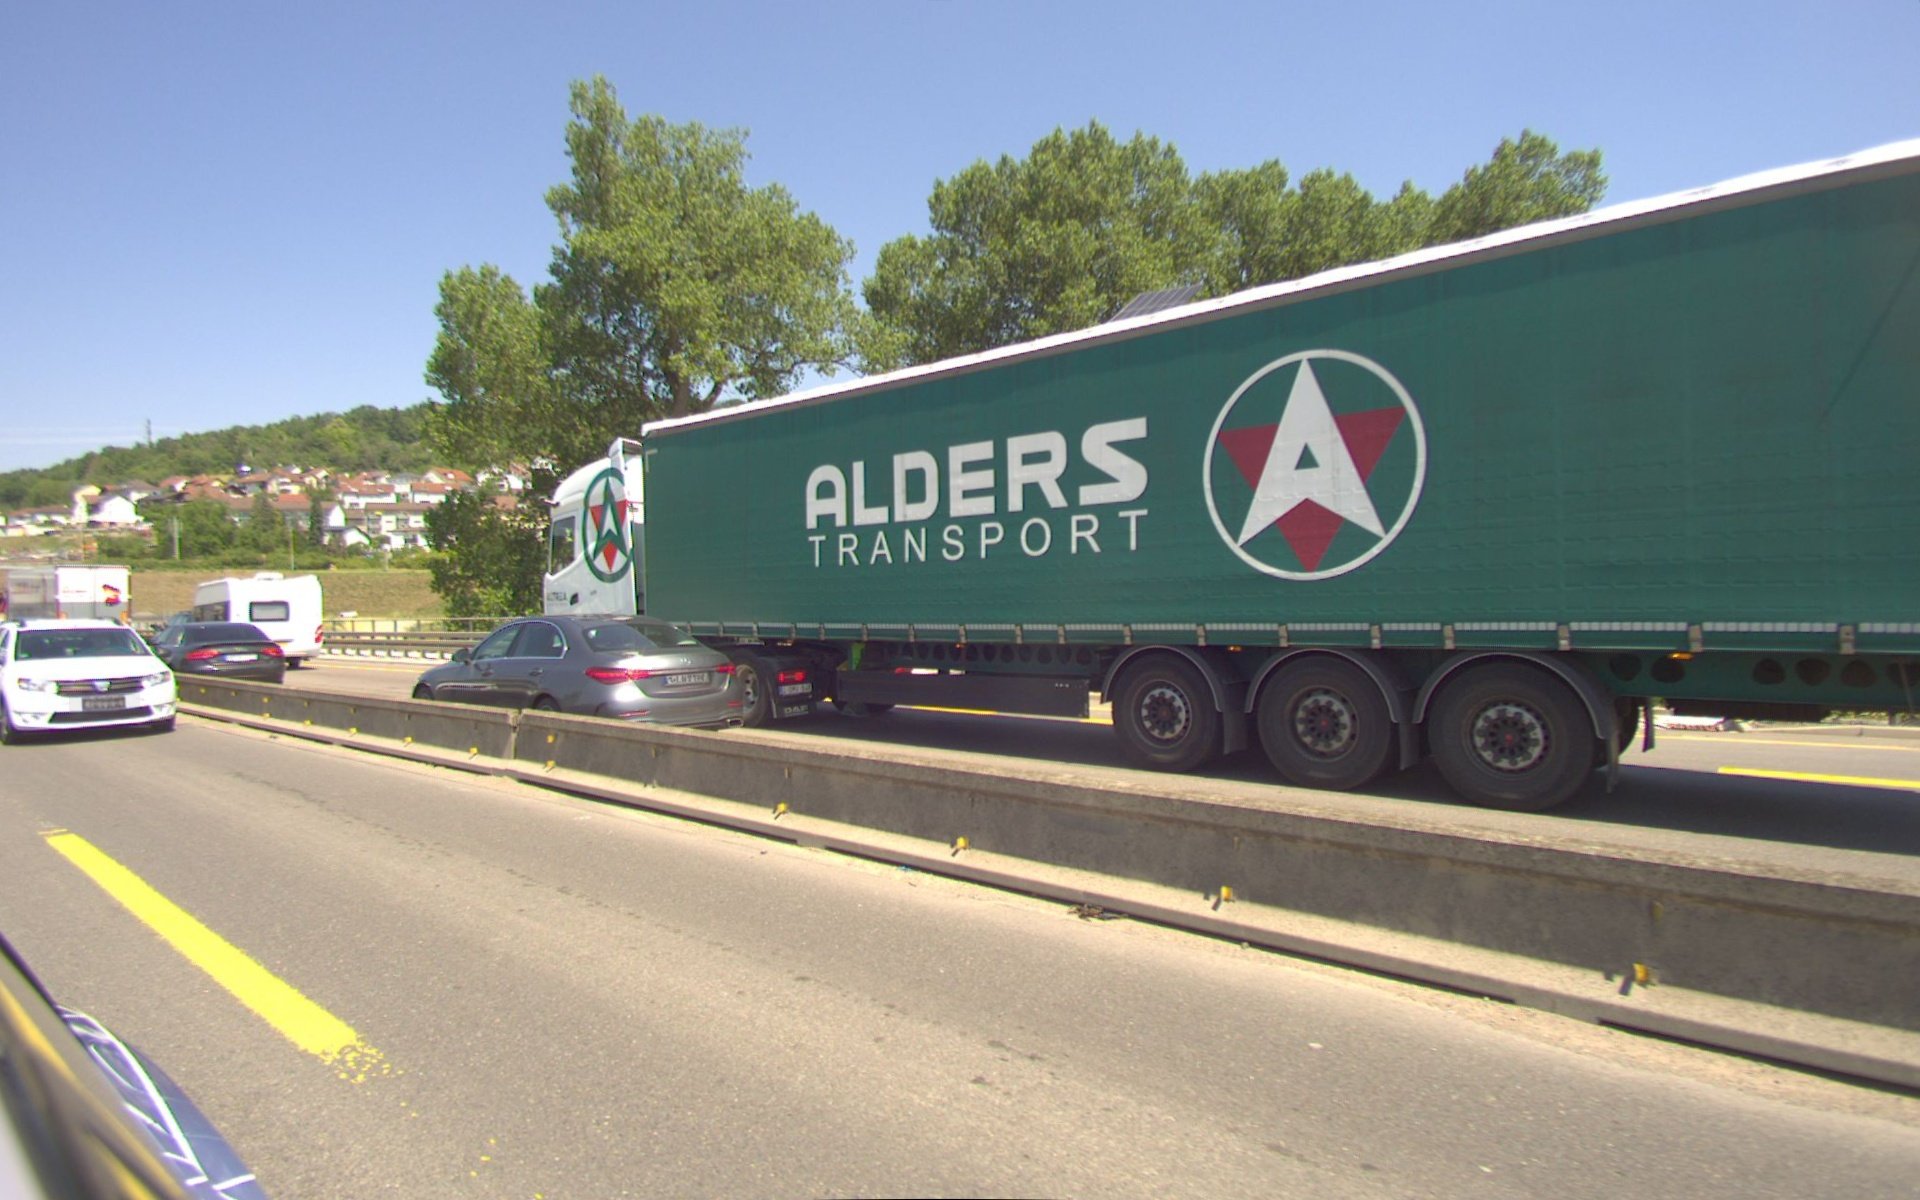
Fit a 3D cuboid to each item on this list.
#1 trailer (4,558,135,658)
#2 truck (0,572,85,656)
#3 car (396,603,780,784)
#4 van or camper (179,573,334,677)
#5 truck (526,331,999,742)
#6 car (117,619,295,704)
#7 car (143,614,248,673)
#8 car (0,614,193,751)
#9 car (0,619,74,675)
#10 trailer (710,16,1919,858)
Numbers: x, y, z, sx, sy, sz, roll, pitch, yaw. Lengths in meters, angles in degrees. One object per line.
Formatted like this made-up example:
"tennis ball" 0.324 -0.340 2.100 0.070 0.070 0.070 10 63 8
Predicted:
"trailer" -41.835 0.489 47.348 11.787 4.208 2.778 -2 -1 40
"truck" -47.809 0.756 52.291 6.515 4.068 2.788 -2 -1 39
"car" -4.143 0.855 10.855 4.605 1.470 1.846 -2 1 41
"van or camper" -20.362 0.696 29.197 5.241 2.719 2.477 -2 -1 41
"truck" -3.169 -0.647 14.756 7.099 4.571 3.045 -2 -1 42
"car" -15.146 1.167 20.239 4.533 1.431 1.760 -2 1 39
"car" -24.956 1.382 32.966 4.788 1.747 1.749 -2 -1 41
"car" -12.221 1.005 13.846 4.703 1.542 1.800 -2 -1 41
"car" -32.365 1.587 35.013 4.614 1.700 1.829 -2 1 40
"trailer" 2.773 -0.769 9.519 13.012 4.499 3.069 -2 -2 41
